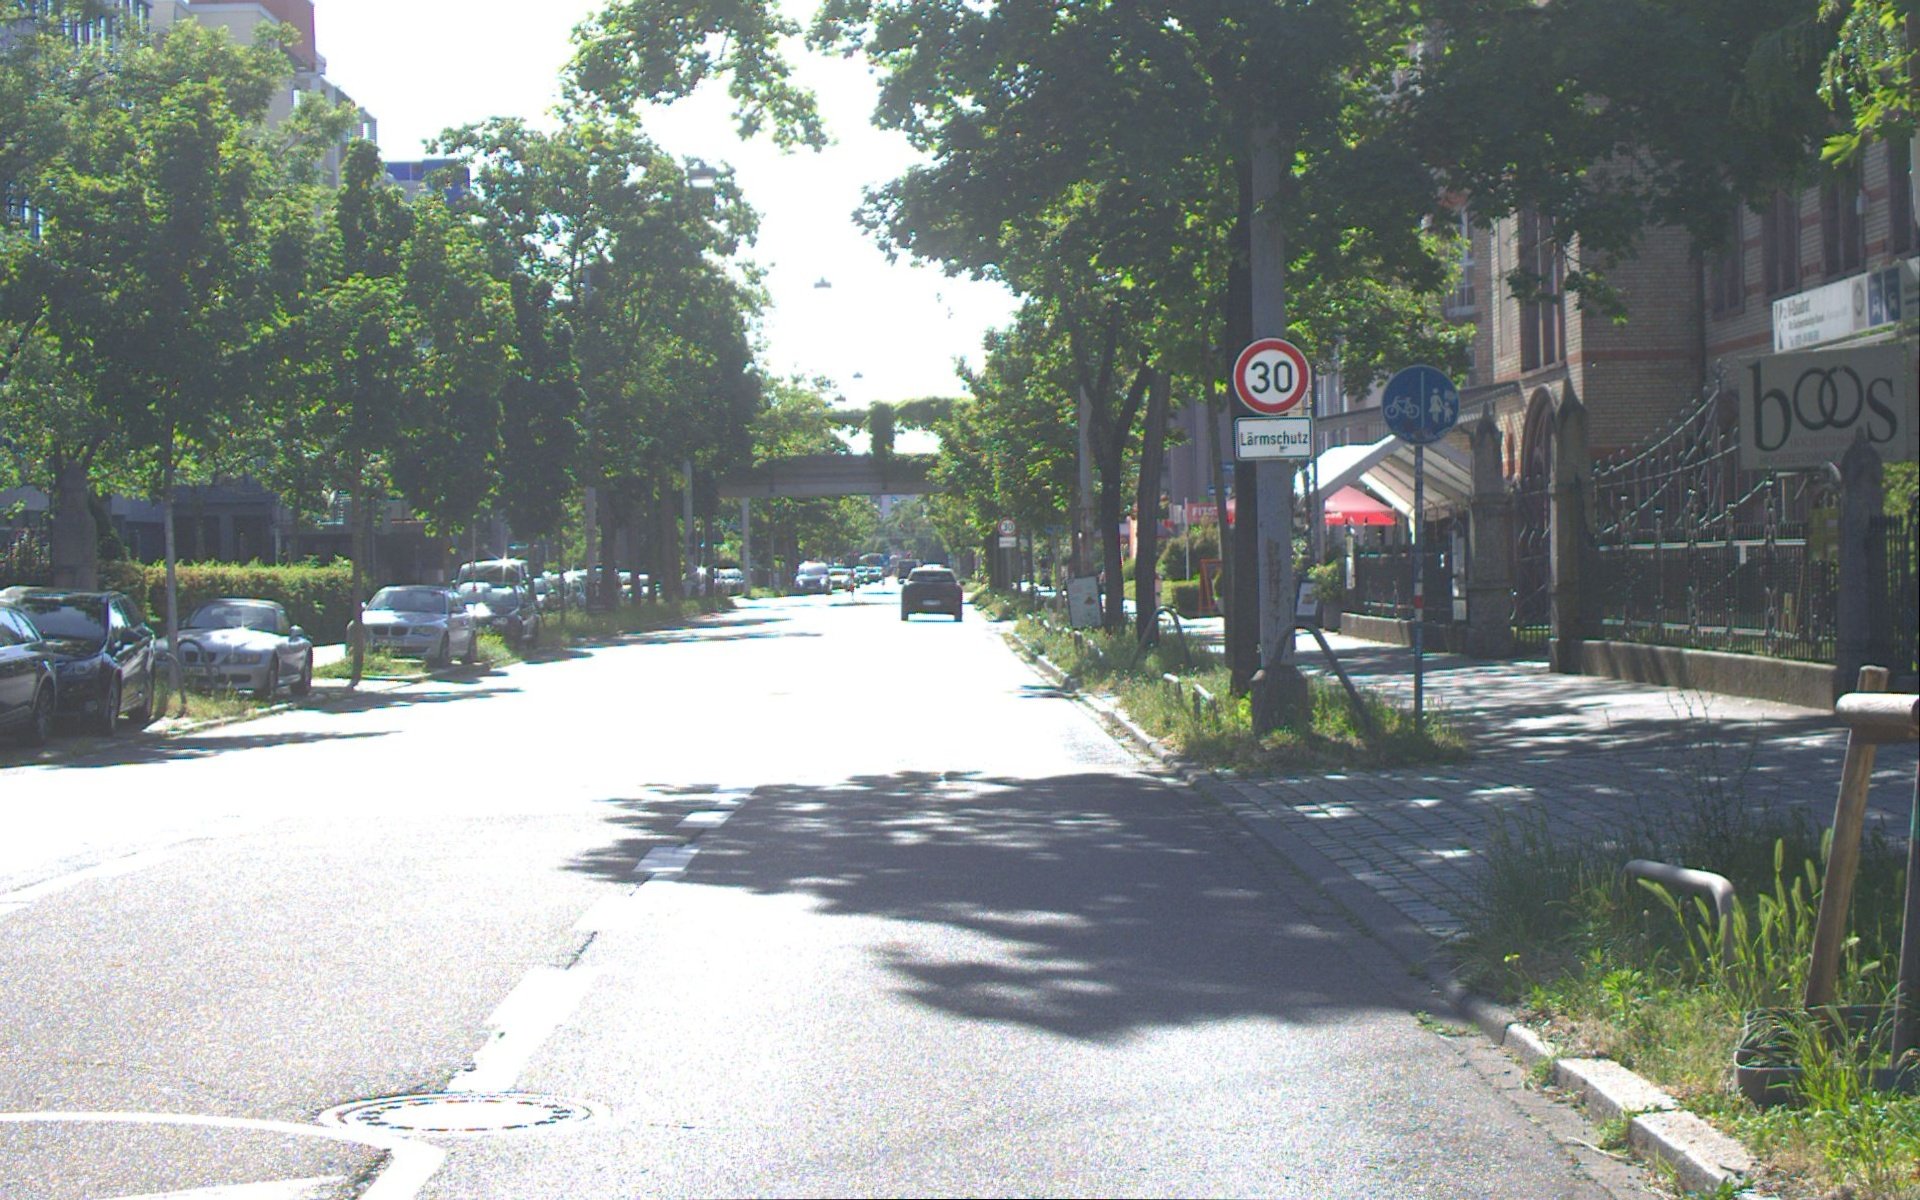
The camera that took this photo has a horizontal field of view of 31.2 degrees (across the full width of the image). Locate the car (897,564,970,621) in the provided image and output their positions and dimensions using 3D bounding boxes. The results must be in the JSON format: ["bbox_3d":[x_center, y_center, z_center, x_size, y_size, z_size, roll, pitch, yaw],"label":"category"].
[{"bbox_3d":[-0.795,-0.235,98.989,1.984,1.595,4.141,0,1,-2],"label":"car"}]

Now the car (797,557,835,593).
[{"bbox_3d":[-7.544,-1.323,180.425,1.855,1.819,4.610,-3,1,-2],"label":"car"}]

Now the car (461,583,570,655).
[{"bbox_3d":[-9.327,0.377,72.410,1.712,1.454,4.072,0,1,1],"label":"car"}]

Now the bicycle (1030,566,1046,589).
[{"bbox_3d":[3.504,-1.005,154.646,0.589,1.024,1.860,-1,0,-1],"label":"bicycle"}]

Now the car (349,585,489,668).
[{"bbox_3d":[-9.595,0.449,61.240,1.688,1.378,4.191,0,1,2],"label":"car"}]

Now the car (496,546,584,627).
[{"bbox_3d":[-11.525,-0.380,94.614,1.981,2.069,5.197,-3,1,-3],"label":"car"}]

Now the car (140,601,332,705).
[{"bbox_3d":[-9.455,0.671,45.152,1.678,1.251,4.015,0,1,0],"label":"car"}]

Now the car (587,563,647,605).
[{"bbox_3d":[-12.873,-0.606,129.082,1.856,1.563,3.872,0,1,0],"label":"car"}]

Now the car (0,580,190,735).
[{"bbox_3d":[-9.689,0.574,37.544,1.855,1.489,4.707,2,0,-5],"label":"car"}]

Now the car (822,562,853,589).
[{"bbox_3d":[-7.622,-1.549,214.097,1.855,1.563,4.716,-2,1,-1],"label":"car"}]

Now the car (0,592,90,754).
[{"bbox_3d":[-9.702,0.655,32.137,1.856,1.422,4.720,3,1,0],"label":"car"}]
